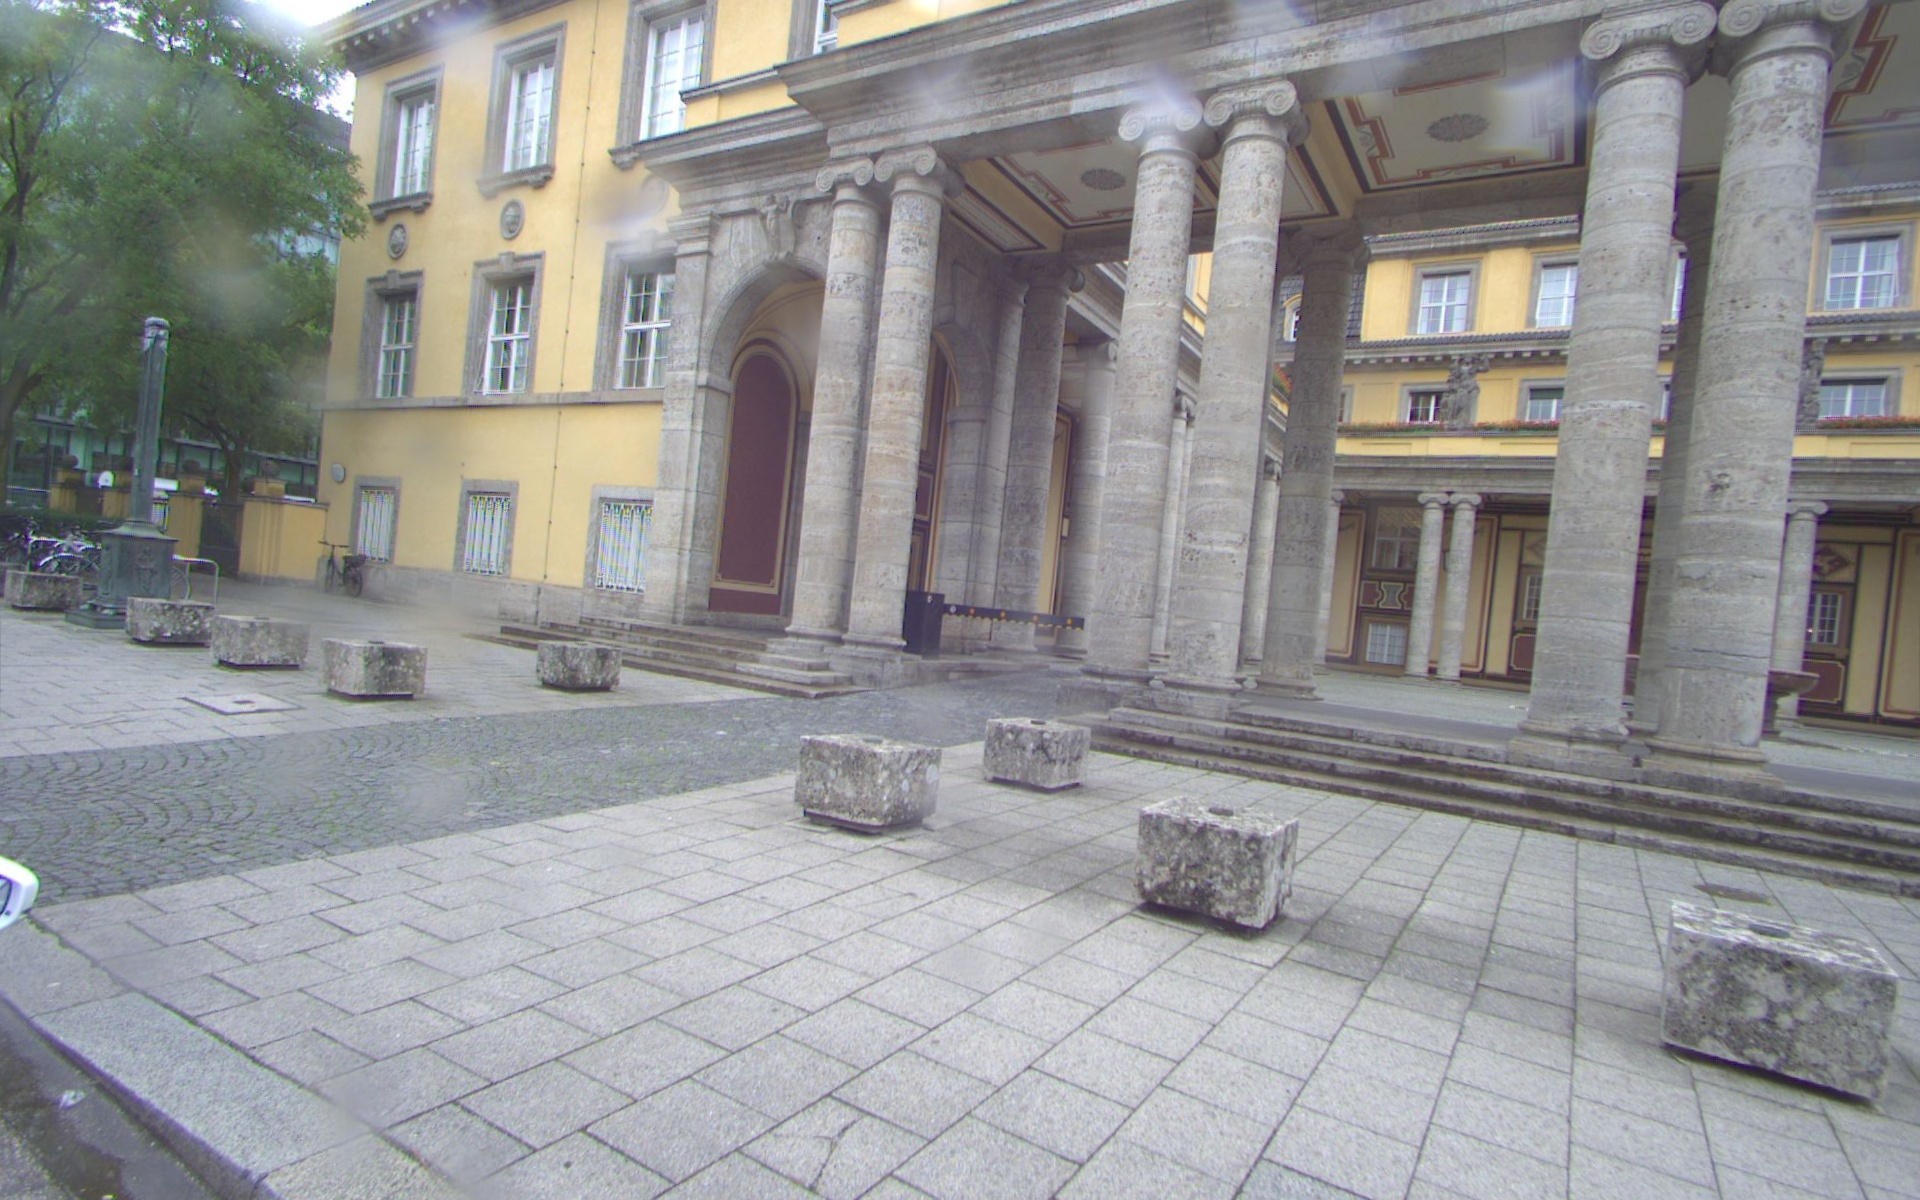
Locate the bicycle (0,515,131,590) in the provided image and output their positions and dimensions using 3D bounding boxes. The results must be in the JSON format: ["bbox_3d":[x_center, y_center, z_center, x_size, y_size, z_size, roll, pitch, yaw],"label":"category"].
[{"bbox_3d":[-15.550,-0.811,17.267,0.464,1.128,1.932,7,1,33],"label":"bicycle"}]

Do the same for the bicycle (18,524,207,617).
[{"bbox_3d":[-11.743,-0.376,14.015,0.463,1.128,1.934,6,1,29],"label":"bicycle"}]

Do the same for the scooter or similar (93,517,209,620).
[{"bbox_3d":[-10.677,-0.415,13.305,0.996,1.238,0.536,5,2,-13],"label":"scooter or similar"}]

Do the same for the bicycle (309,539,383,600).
[{"bbox_3d":[-13.743,-0.694,22.514,1.870,1.169,0.542,7,2,31],"label":"bicycle"}]

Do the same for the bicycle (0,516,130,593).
[{"bbox_3d":[-15.037,-0.751,16.625,0.464,1.128,1.931,7,1,34],"label":"bicycle"}]

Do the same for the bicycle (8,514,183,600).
[{"bbox_3d":[-13.149,-0.632,15.363,0.464,1.128,1.931,7,1,34],"label":"bicycle"}]
